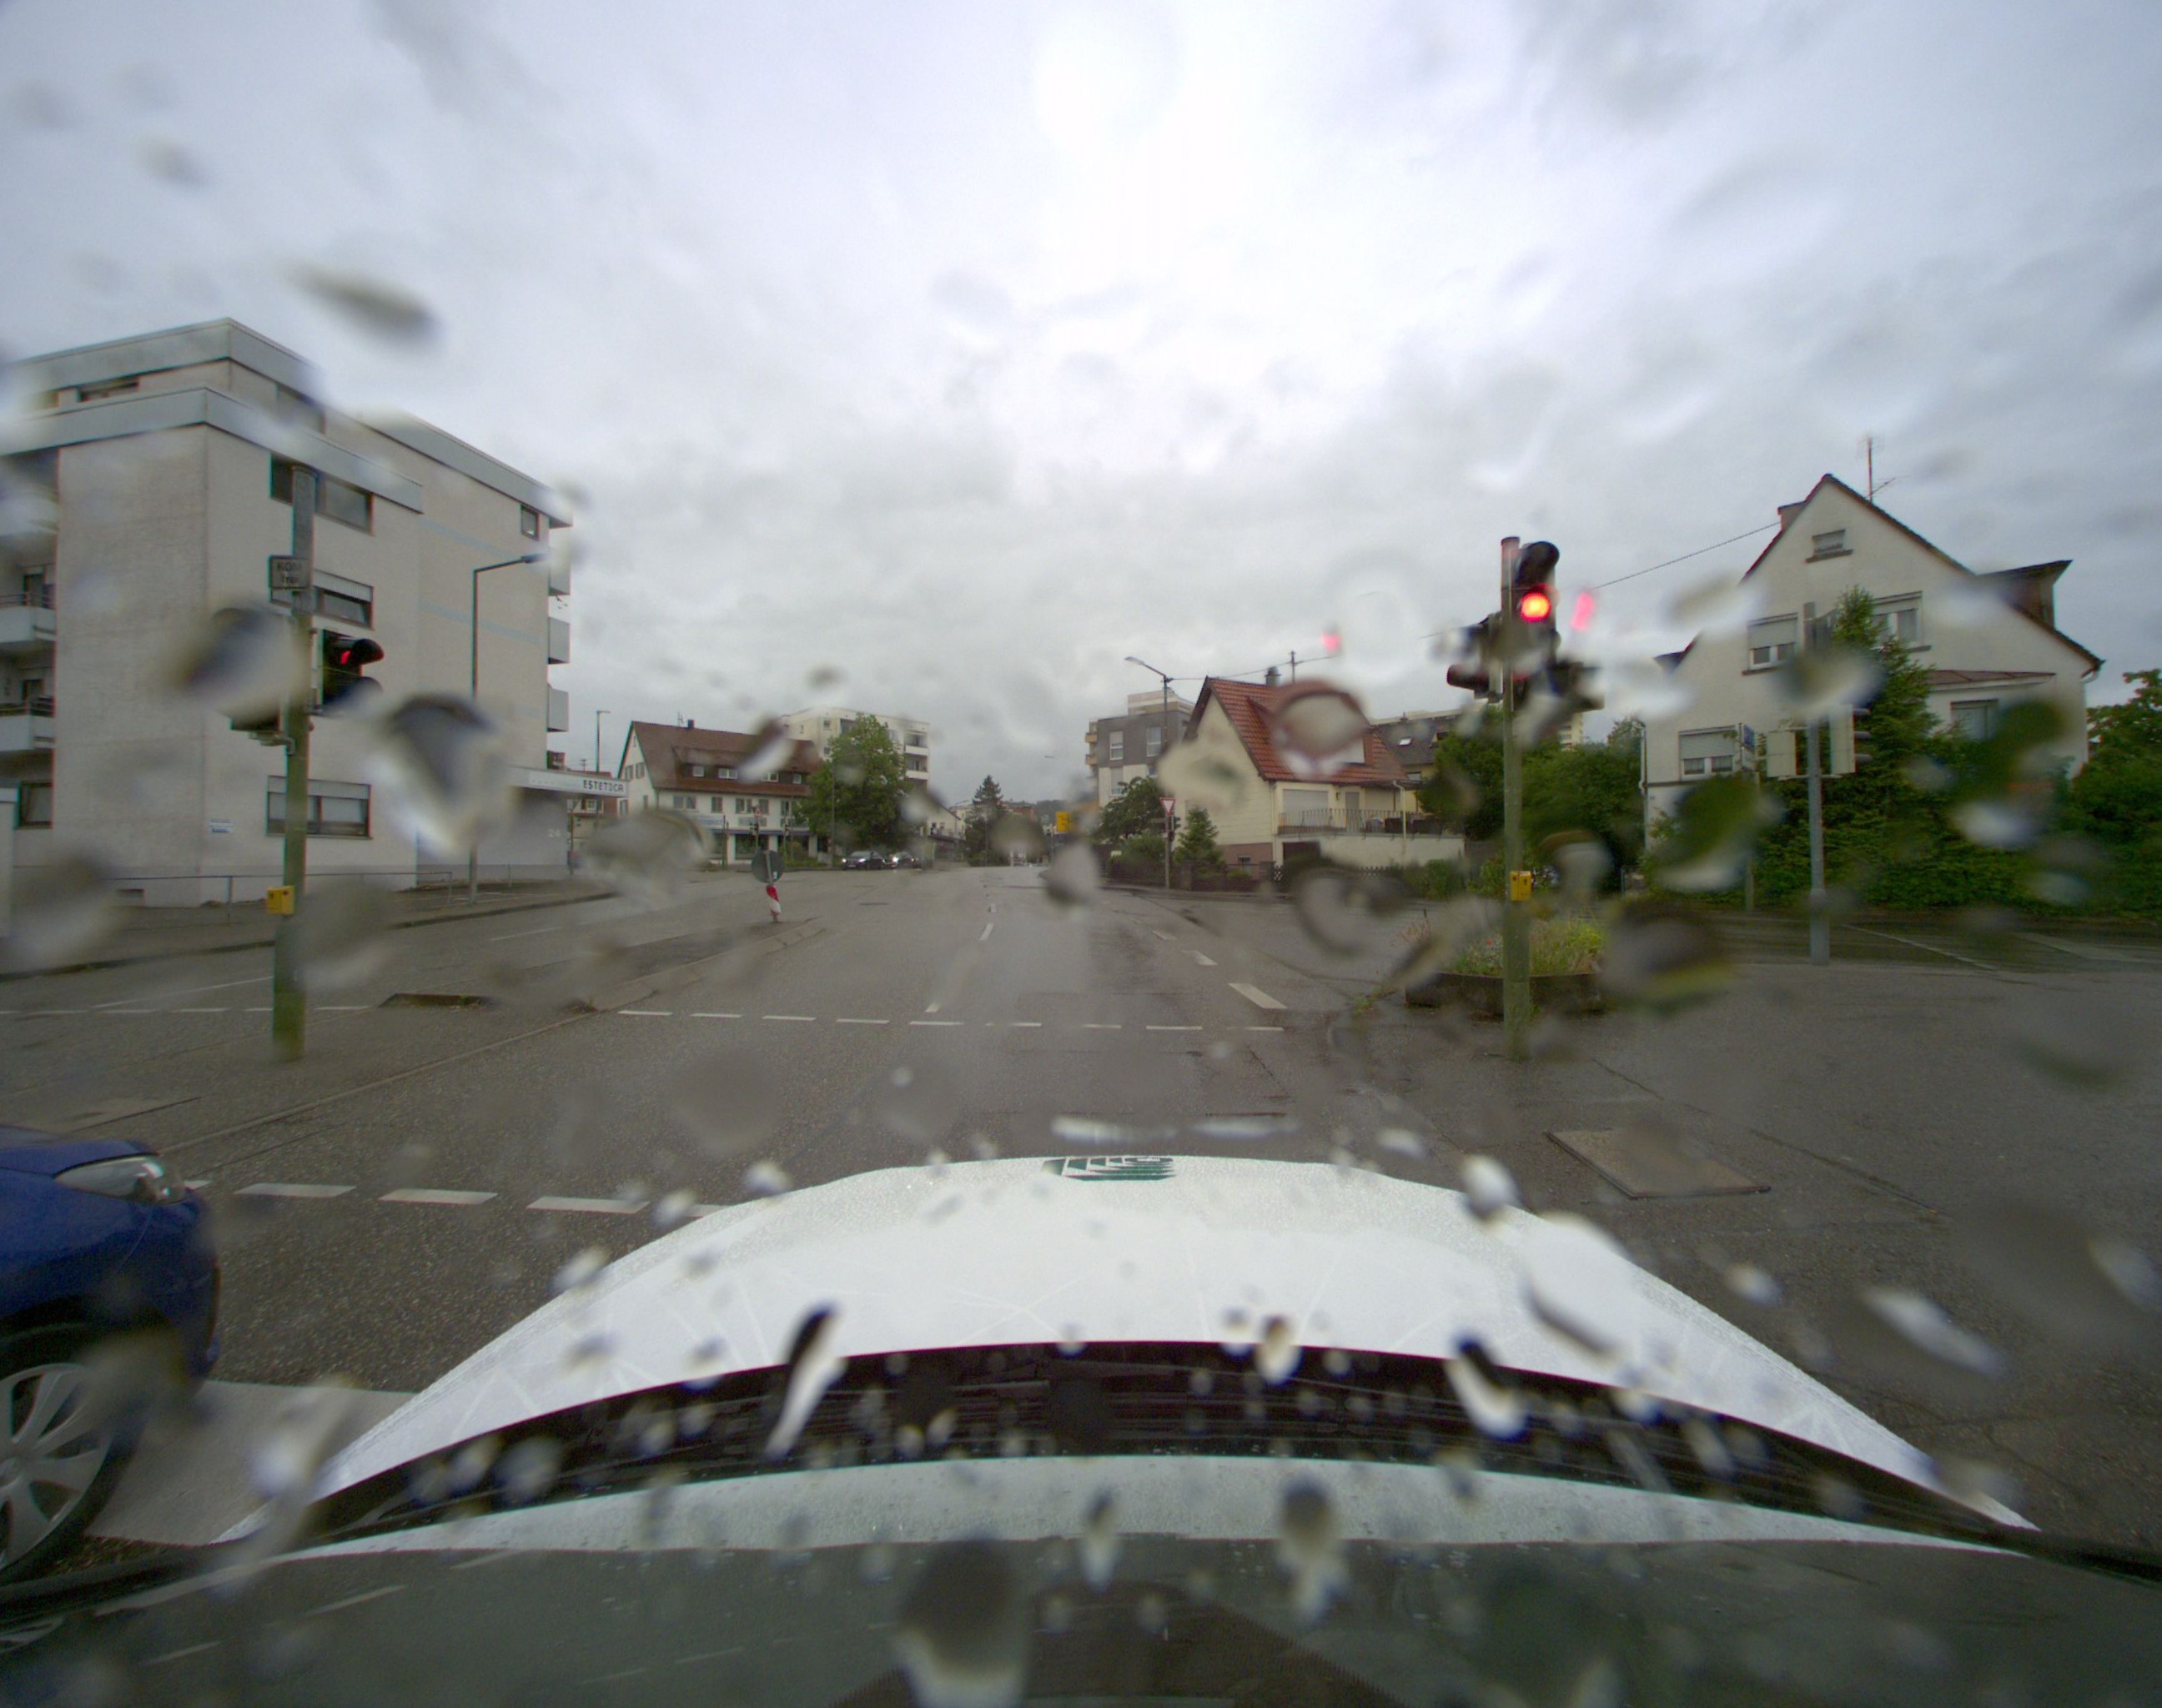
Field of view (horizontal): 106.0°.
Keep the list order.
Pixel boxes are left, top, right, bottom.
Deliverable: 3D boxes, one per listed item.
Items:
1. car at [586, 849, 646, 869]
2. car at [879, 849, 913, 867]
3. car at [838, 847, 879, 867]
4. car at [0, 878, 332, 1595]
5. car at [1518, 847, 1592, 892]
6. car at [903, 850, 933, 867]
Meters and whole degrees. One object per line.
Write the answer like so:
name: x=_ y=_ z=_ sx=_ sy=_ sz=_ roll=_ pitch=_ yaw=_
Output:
car: x=-38.274 y=0.414 z=67.048 sx=3.988 sy=1.572 sz=1.850 roll=0 pitch=0 yaw=-42
car: x=-14.995 y=0.319 z=66.103 sx=1.708 sy=1.387 sz=4.022 roll=0 pitch=0 yaw=2
car: x=-16.008 y=0.211 z=58.739 sx=1.772 sy=1.420 sz=3.832 roll=0 pitch=0 yaw=2
car: x=-2.989 y=0.782 z=0.705 sx=1.572 sy=1.410 sz=3.272 roll=0 pitch=0 yaw=2
car: x=17.095 y=0.504 z=29.284 sx=1.723 sy=1.514 sz=4.025 roll=0 pitch=0 yaw=39
car: x=-14.370 y=0.365 z=71.998 sx=1.772 sy=1.420 sz=3.832 roll=0 pitch=0 yaw=2
